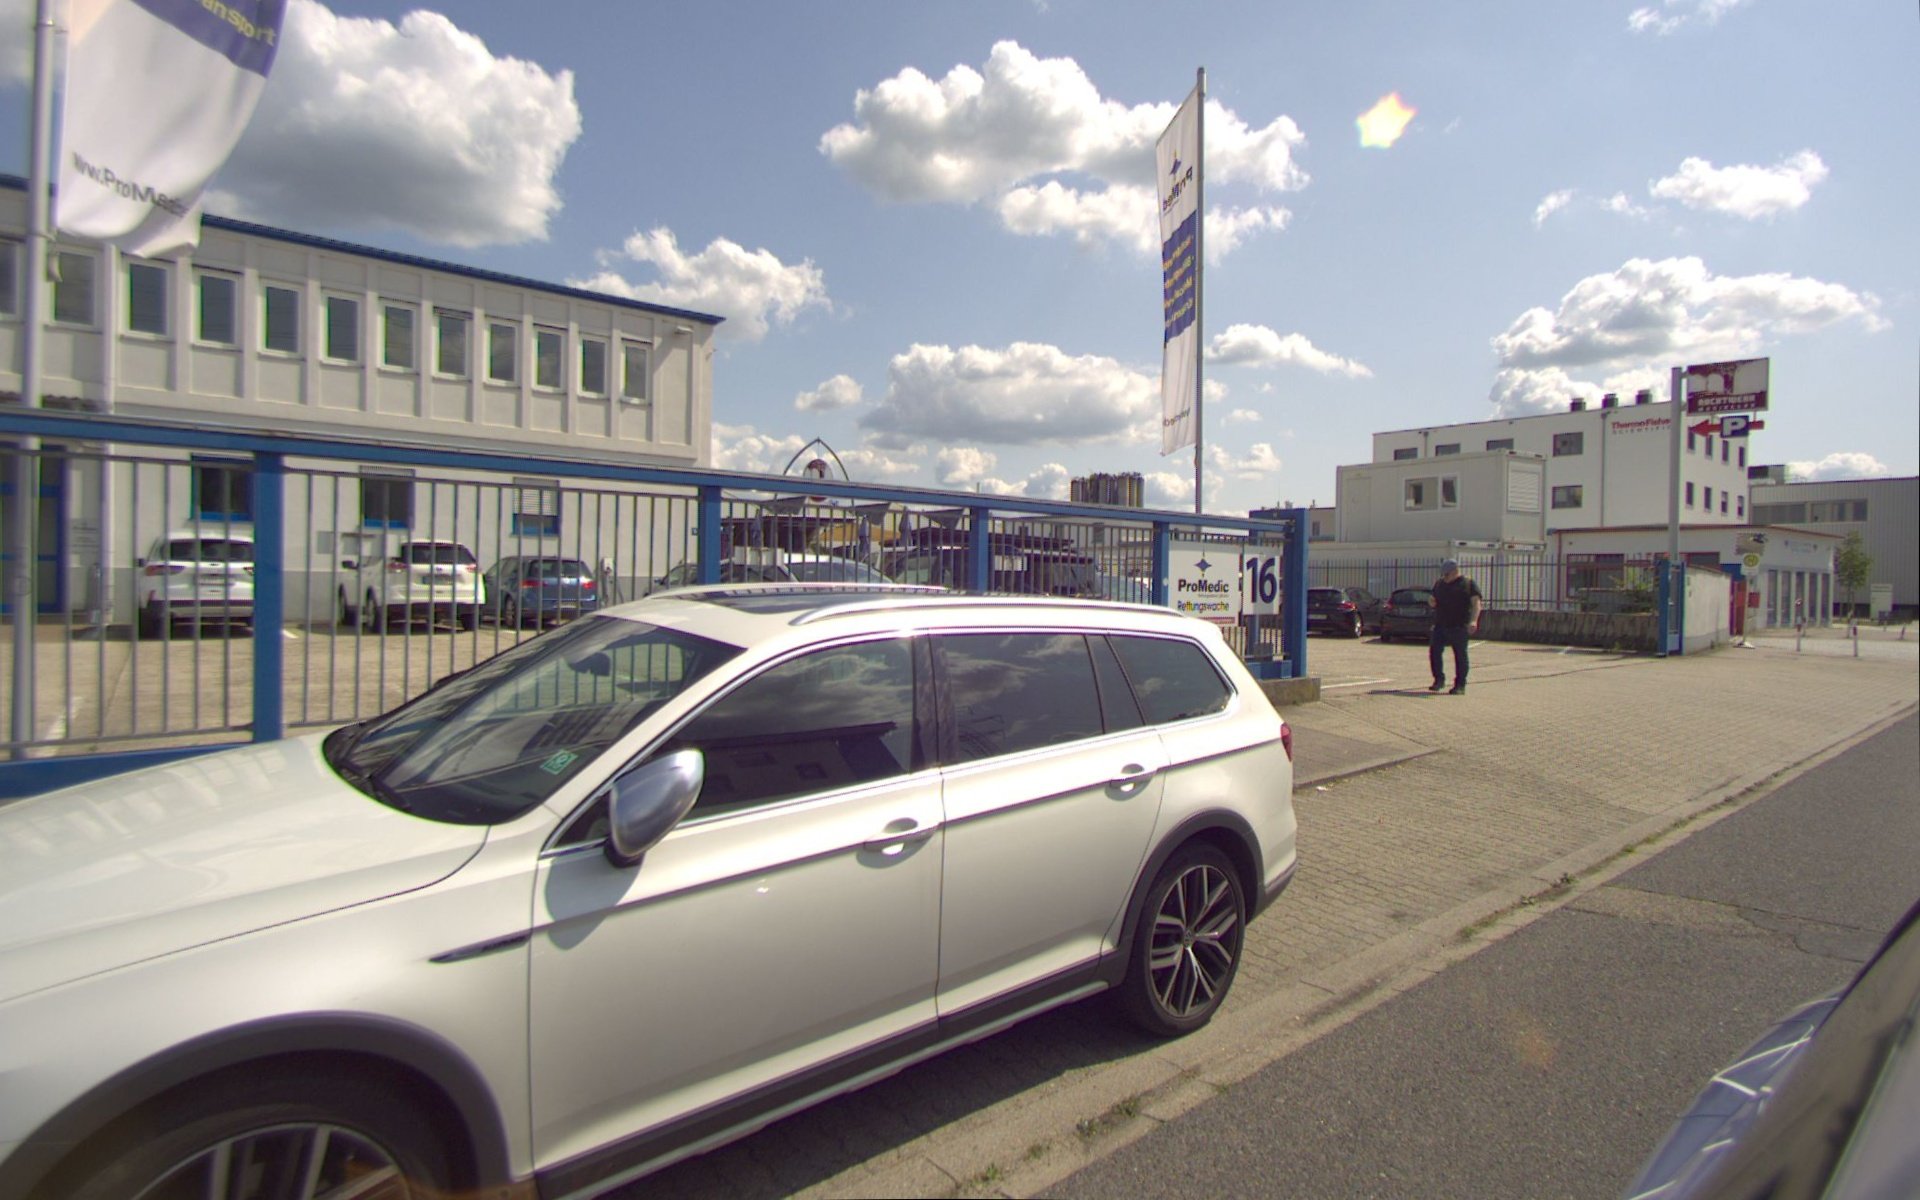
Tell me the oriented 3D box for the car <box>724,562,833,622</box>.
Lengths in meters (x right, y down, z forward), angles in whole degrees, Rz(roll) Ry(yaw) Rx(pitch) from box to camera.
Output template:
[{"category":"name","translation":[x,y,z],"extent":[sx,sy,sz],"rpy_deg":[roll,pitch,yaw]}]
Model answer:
[{"category":"car","translation":[-5.742,-0.241,32.162],"extent":[3.109,1.791,1.415],"rpy_deg":[0,-2,-43]}]

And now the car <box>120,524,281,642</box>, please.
[{"category":"car","translation":[-12.739,-0.290,16.885],"extent":[1.900,1.723,3.995],"rpy_deg":[0,1,-40]}]

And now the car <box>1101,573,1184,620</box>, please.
[{"category":"car","translation":[6.407,-0.142,35.293],"extent":[1.545,1.541,3.957],"rpy_deg":[2,1,31]}]

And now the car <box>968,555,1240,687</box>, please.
[{"category":"car","translation":[1.903,0.189,14.055],"extent":[1.760,1.508,3.411],"rpy_deg":[0,3,-40]}]

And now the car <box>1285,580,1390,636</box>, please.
[{"category":"car","translation":[10.489,0.184,27.953],"extent":[1.940,1.394,3.954],"rpy_deg":[2,1,32]}]

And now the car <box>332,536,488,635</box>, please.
[{"category":"car","translation":[-10.394,-0.295,18.999],"extent":[1.775,1.650,3.995],"rpy_deg":[0,1,-40]}]

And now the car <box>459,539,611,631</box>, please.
[{"category":"car","translation":[-8.885,-0.332,20.990],"extent":[1.775,1.712,3.995],"rpy_deg":[0,1,-40]}]

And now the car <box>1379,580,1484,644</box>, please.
[{"category":"car","translation":[12.038,0.235,25.735],"extent":[1.735,1.459,3.785],"rpy_deg":[2,2,35]}]

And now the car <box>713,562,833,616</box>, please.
[{"category":"car","translation":[-5.325,-0.305,28.963],"extent":[3.107,1.421,1.416],"rpy_deg":[-1,-1,-41]}]

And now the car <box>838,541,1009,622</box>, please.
[{"category":"car","translation":[-1.075,-0.476,26.956],"extent":[2.234,1.961,4.691],"rpy_deg":[0,0,-38]}]

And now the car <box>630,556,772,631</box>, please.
[{"category":"car","translation":[-6.004,-0.211,23.182],"extent":[1.829,1.504,3.896],"rpy_deg":[-1,3,-36]}]

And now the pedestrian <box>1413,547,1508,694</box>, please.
[{"category":"pedestrian","translation":[6.347,0.228,12.839],"extent":[0.773,1.778,0.771],"rpy_deg":[0,3,-41]}]

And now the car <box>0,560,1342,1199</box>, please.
[{"category":"car","translation":[-0.754,0.688,3.307],"extent":[4.518,1.539,1.871],"rpy_deg":[-1,1,-41]}]

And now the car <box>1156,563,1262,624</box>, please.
[{"category":"car","translation":[8.111,-0.214,32.746],"extent":[1.685,1.829,4.217],"rpy_deg":[2,1,39]}]

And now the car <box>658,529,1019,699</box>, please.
[{"category":"car","translation":[-1.458,0.059,10.767],"extent":[1.964,1.438,3.996],"rpy_deg":[0,2,-40]}]

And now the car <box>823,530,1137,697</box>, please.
[{"category":"car","translation":[0.103,0.114,12.318],"extent":[1.760,1.701,3.813],"rpy_deg":[0,1,-40]}]
